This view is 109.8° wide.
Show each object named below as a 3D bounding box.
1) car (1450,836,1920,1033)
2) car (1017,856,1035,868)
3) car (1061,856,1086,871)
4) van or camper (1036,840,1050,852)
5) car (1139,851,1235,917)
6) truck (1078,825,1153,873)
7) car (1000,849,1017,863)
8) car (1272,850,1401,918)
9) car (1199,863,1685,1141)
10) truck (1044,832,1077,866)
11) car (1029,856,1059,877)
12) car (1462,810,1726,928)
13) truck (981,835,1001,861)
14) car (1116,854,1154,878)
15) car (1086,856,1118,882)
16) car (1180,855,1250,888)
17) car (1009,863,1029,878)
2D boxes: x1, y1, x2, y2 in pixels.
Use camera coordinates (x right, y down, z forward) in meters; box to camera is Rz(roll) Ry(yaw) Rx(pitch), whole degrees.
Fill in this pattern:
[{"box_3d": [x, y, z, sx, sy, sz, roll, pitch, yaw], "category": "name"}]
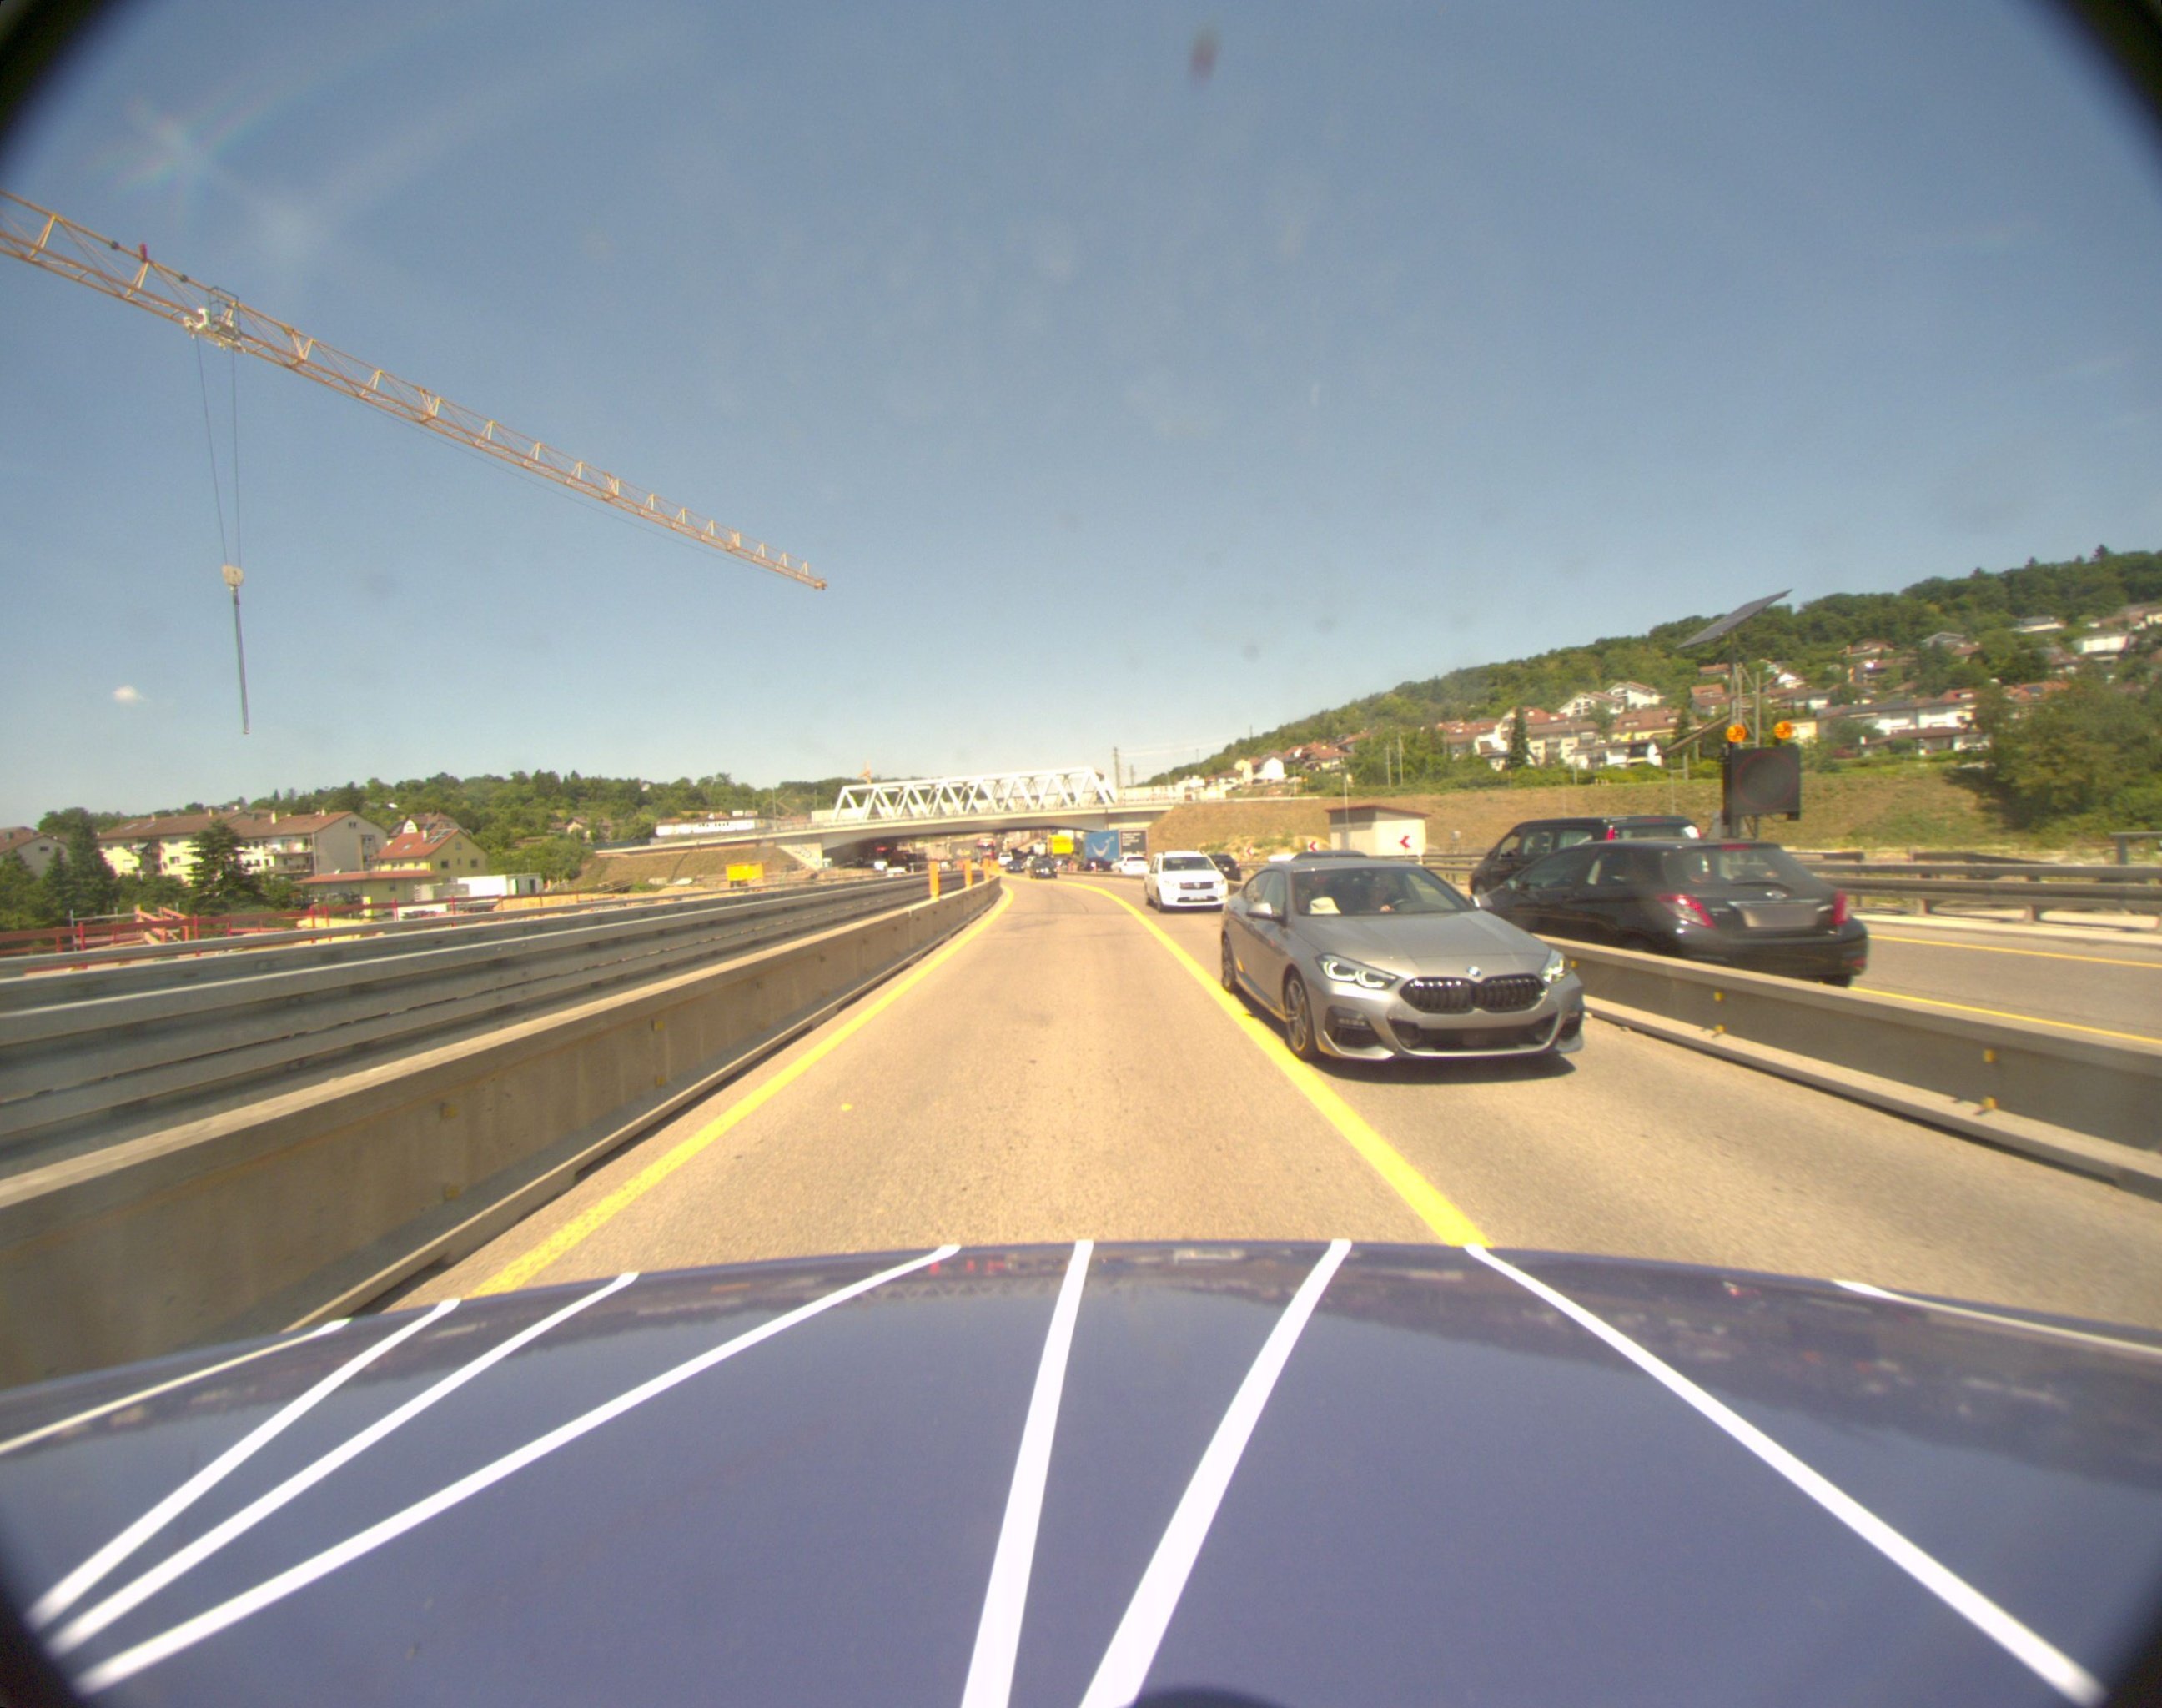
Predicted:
[{"box_3d": [5.820, 0.641, 8.113, 1.745, 1.573, 4.085, 0, 0, 0], "category": "car"}, {"box_3d": [-7.235, 1.064, 100.064, 1.908, 1.453, 4.190, 0, 0, -10], "category": "car"}, {"box_3d": [-0.786, 0.984, 76.361, 1.907, 1.453, 4.191, 0, 0, -8], "category": "car"}, {"box_3d": [-6.878, -1.412, 138.323, 2.331, 2.067, 5.426, -2, 1, -1], "category": "van or camper"}, {"box_3d": [2.729, 0.737, 20.667, 1.823, 1.521, 4.705, -2, 0, -1], "category": "car"}, {"box_3d": [2.977, -0.359, 74.030, 3.271, 4.111, 17.316, 0, 0, -11], "category": "truck"}, {"box_3d": [-10.224, 0.316, 107.405, 1.791, 1.870, 4.001, -4, 0, 2], "category": "car"}, {"box_3d": [6.056, 0.661, 18.532, 1.745, 1.464, 4.085, 0, 0, 0], "category": "car"}, {"box_3d": [2.373, 0.842, 6.567, 1.856, 1.443, 4.741, -2, 0, -1], "category": "car"}, {"box_3d": [-3.019, -0.652, 106.754, 3.175, 4.531, 12.076, 0, 0, -9], "category": "truck"}, {"box_3d": [-3.167, 1.013, 64.028, 1.864, 1.683, 4.093, -1, 0, -11], "category": "car"}, {"box_3d": [9.798, 0.259, 15.154, 1.928, 1.922, 4.938, -1, 0, 0], "category": "car"}, {"box_3d": [-13.666, -0.884, 114.863, 2.704, 3.704, 8.502, 0, 0, -8], "category": "truck"}, {"box_3d": [3.638, 0.786, 51.844, 2.016, 1.516, 4.192, -1, 0, -4], "category": "car"}, {"box_3d": [1.715, 1.229, 63.799, 2.000, 2.002, 3.997, -2, 1, -7], "category": "car"}, {"box_3d": [5.788, 0.733, 33.358, 1.866, 1.314, 4.686, 0, 0, -5], "category": "car"}, {"box_3d": [-7.147, 1.872, 87.225, 1.793, 1.578, 3.997, -4, 0, -11], "category": "car"}]
